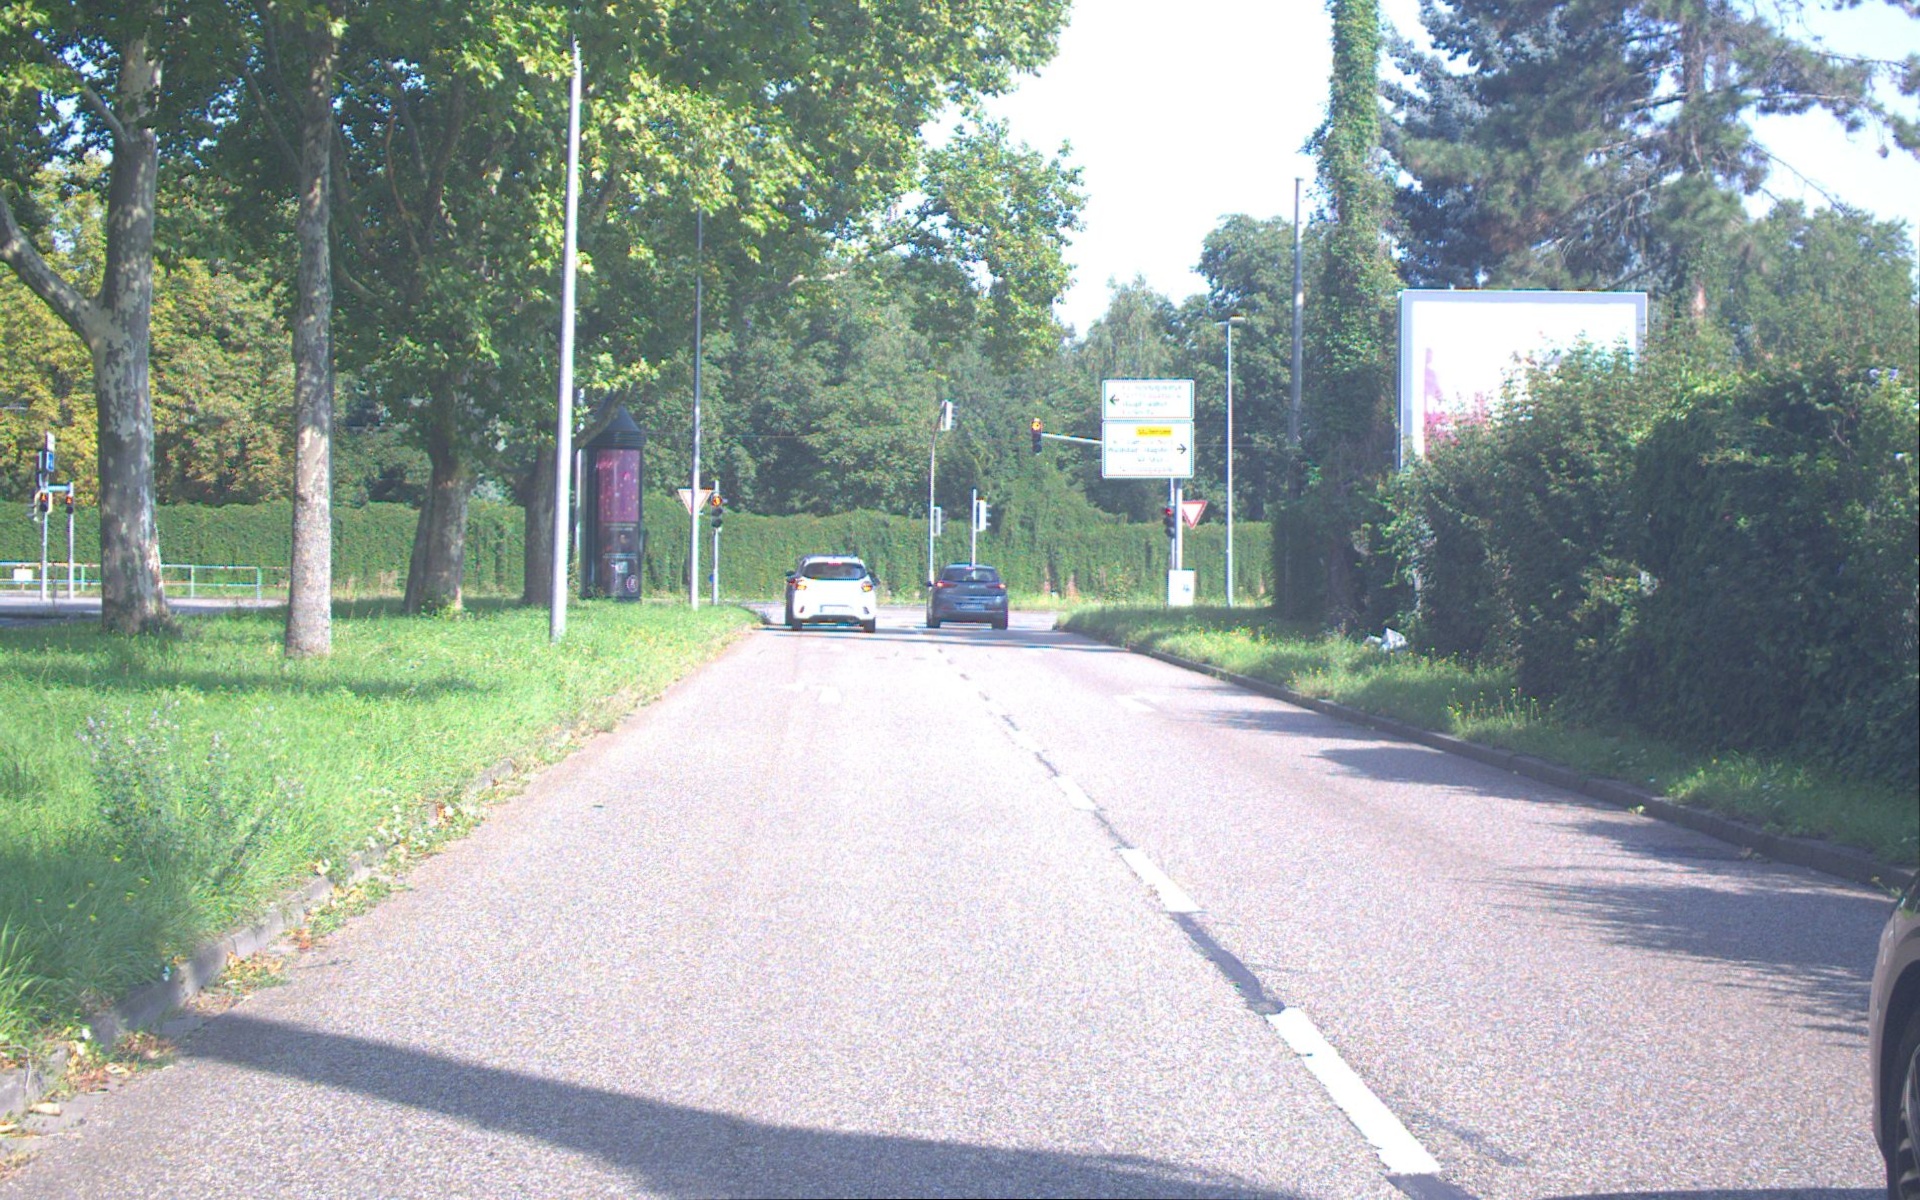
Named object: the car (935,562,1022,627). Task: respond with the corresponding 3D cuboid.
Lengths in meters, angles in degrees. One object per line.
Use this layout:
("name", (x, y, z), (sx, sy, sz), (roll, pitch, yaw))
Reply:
("car", (0.397, -0.145, 78.556), (1.797, 1.396, 4.000), (1, 1, -2))

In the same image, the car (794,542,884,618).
("car", (-2.422, -0.424, 69.635), (1.687, 1.457, 4.000), (1, 1, -1))

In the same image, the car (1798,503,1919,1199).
("car", (2.690, 0.626, 5.207), (1.645, 1.583, 4.255), (0, 1, -2))
